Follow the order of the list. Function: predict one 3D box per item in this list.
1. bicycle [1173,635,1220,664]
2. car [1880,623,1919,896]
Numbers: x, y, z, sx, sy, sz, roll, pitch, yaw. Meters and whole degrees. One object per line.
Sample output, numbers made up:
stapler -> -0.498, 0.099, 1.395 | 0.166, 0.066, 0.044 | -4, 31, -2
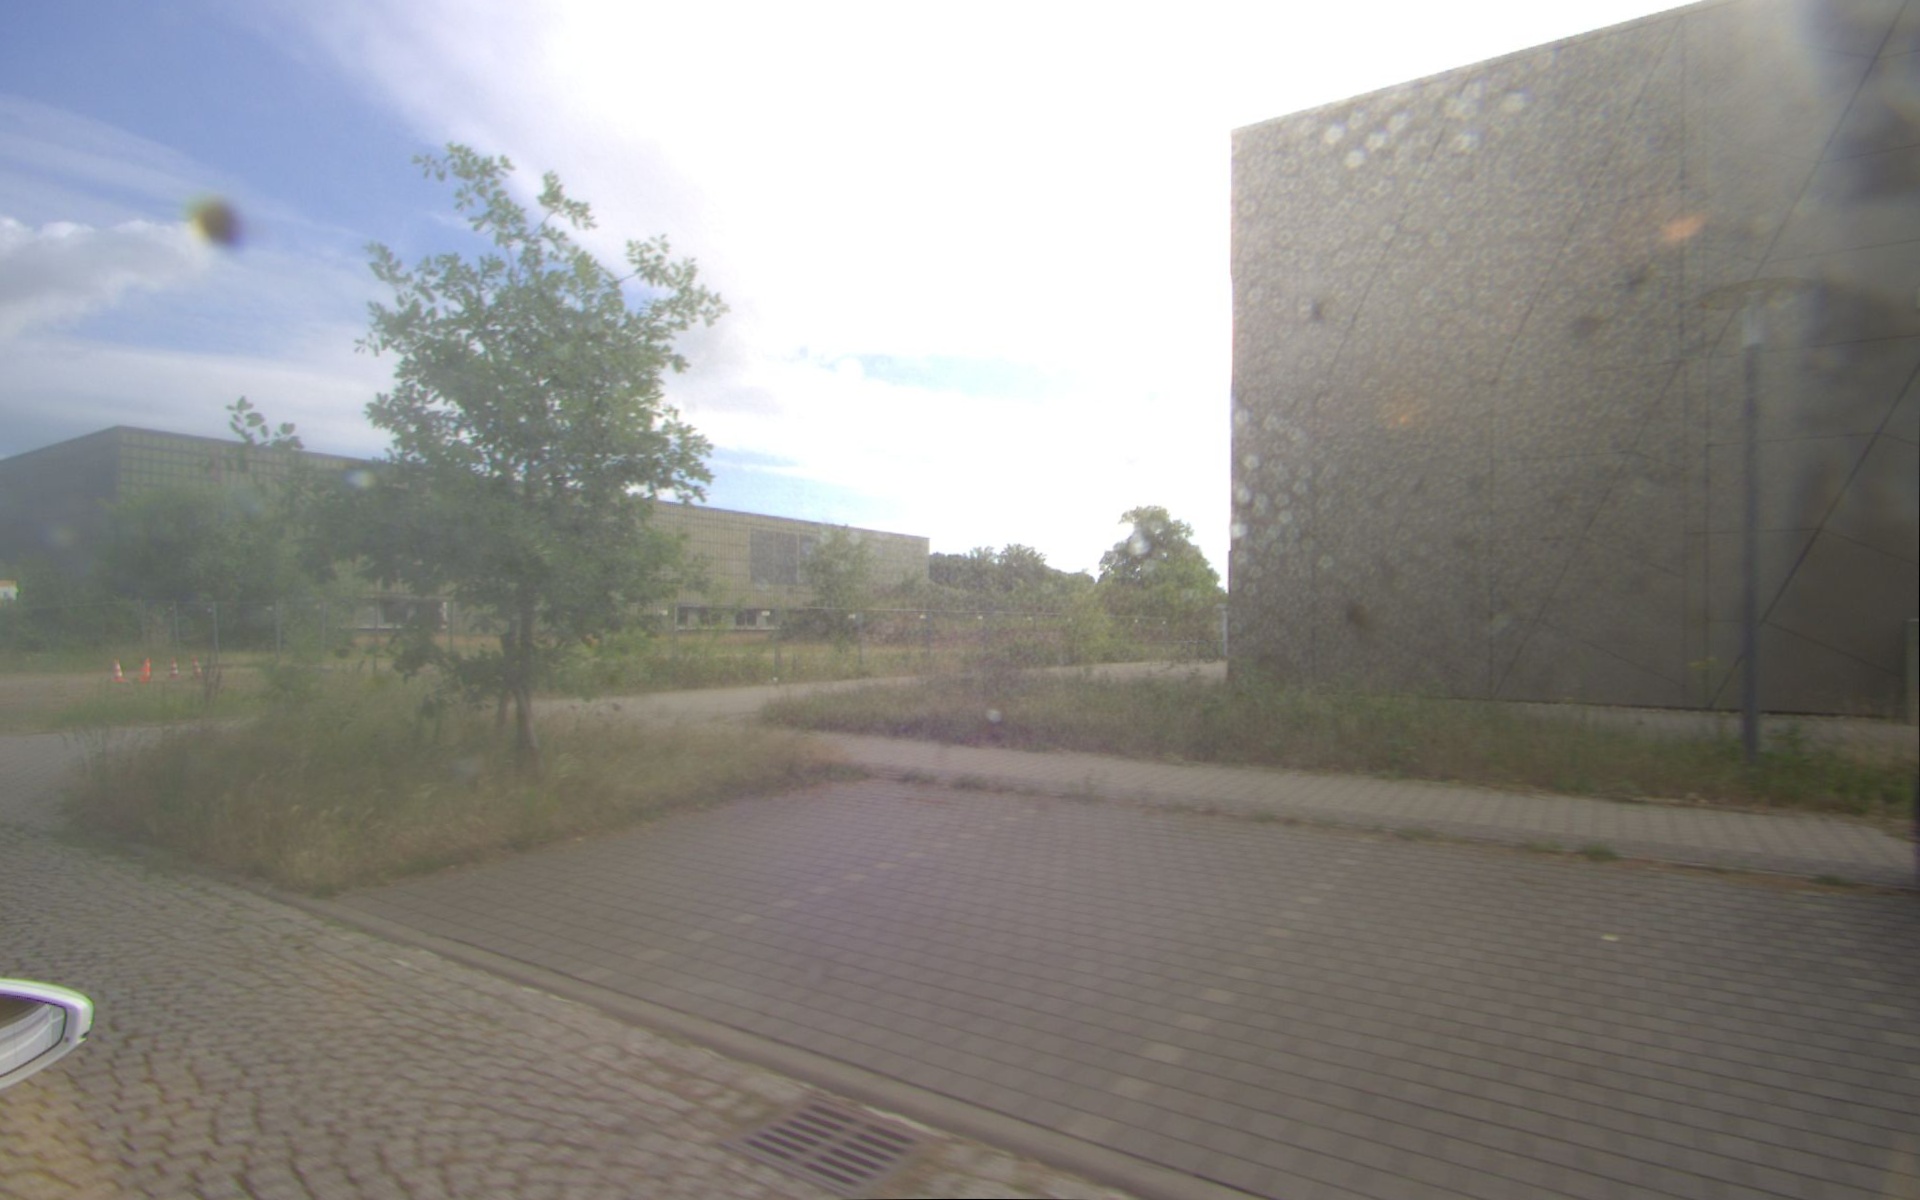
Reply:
bicycle -> 9.303, 1.930, 39.424 | 1.740, 1.112, 0.519 | -1, -3, 35
car -> 5.218, 0.876, 3.620 | 1.796, 1.463, 4.515 | 0, 0, 30
